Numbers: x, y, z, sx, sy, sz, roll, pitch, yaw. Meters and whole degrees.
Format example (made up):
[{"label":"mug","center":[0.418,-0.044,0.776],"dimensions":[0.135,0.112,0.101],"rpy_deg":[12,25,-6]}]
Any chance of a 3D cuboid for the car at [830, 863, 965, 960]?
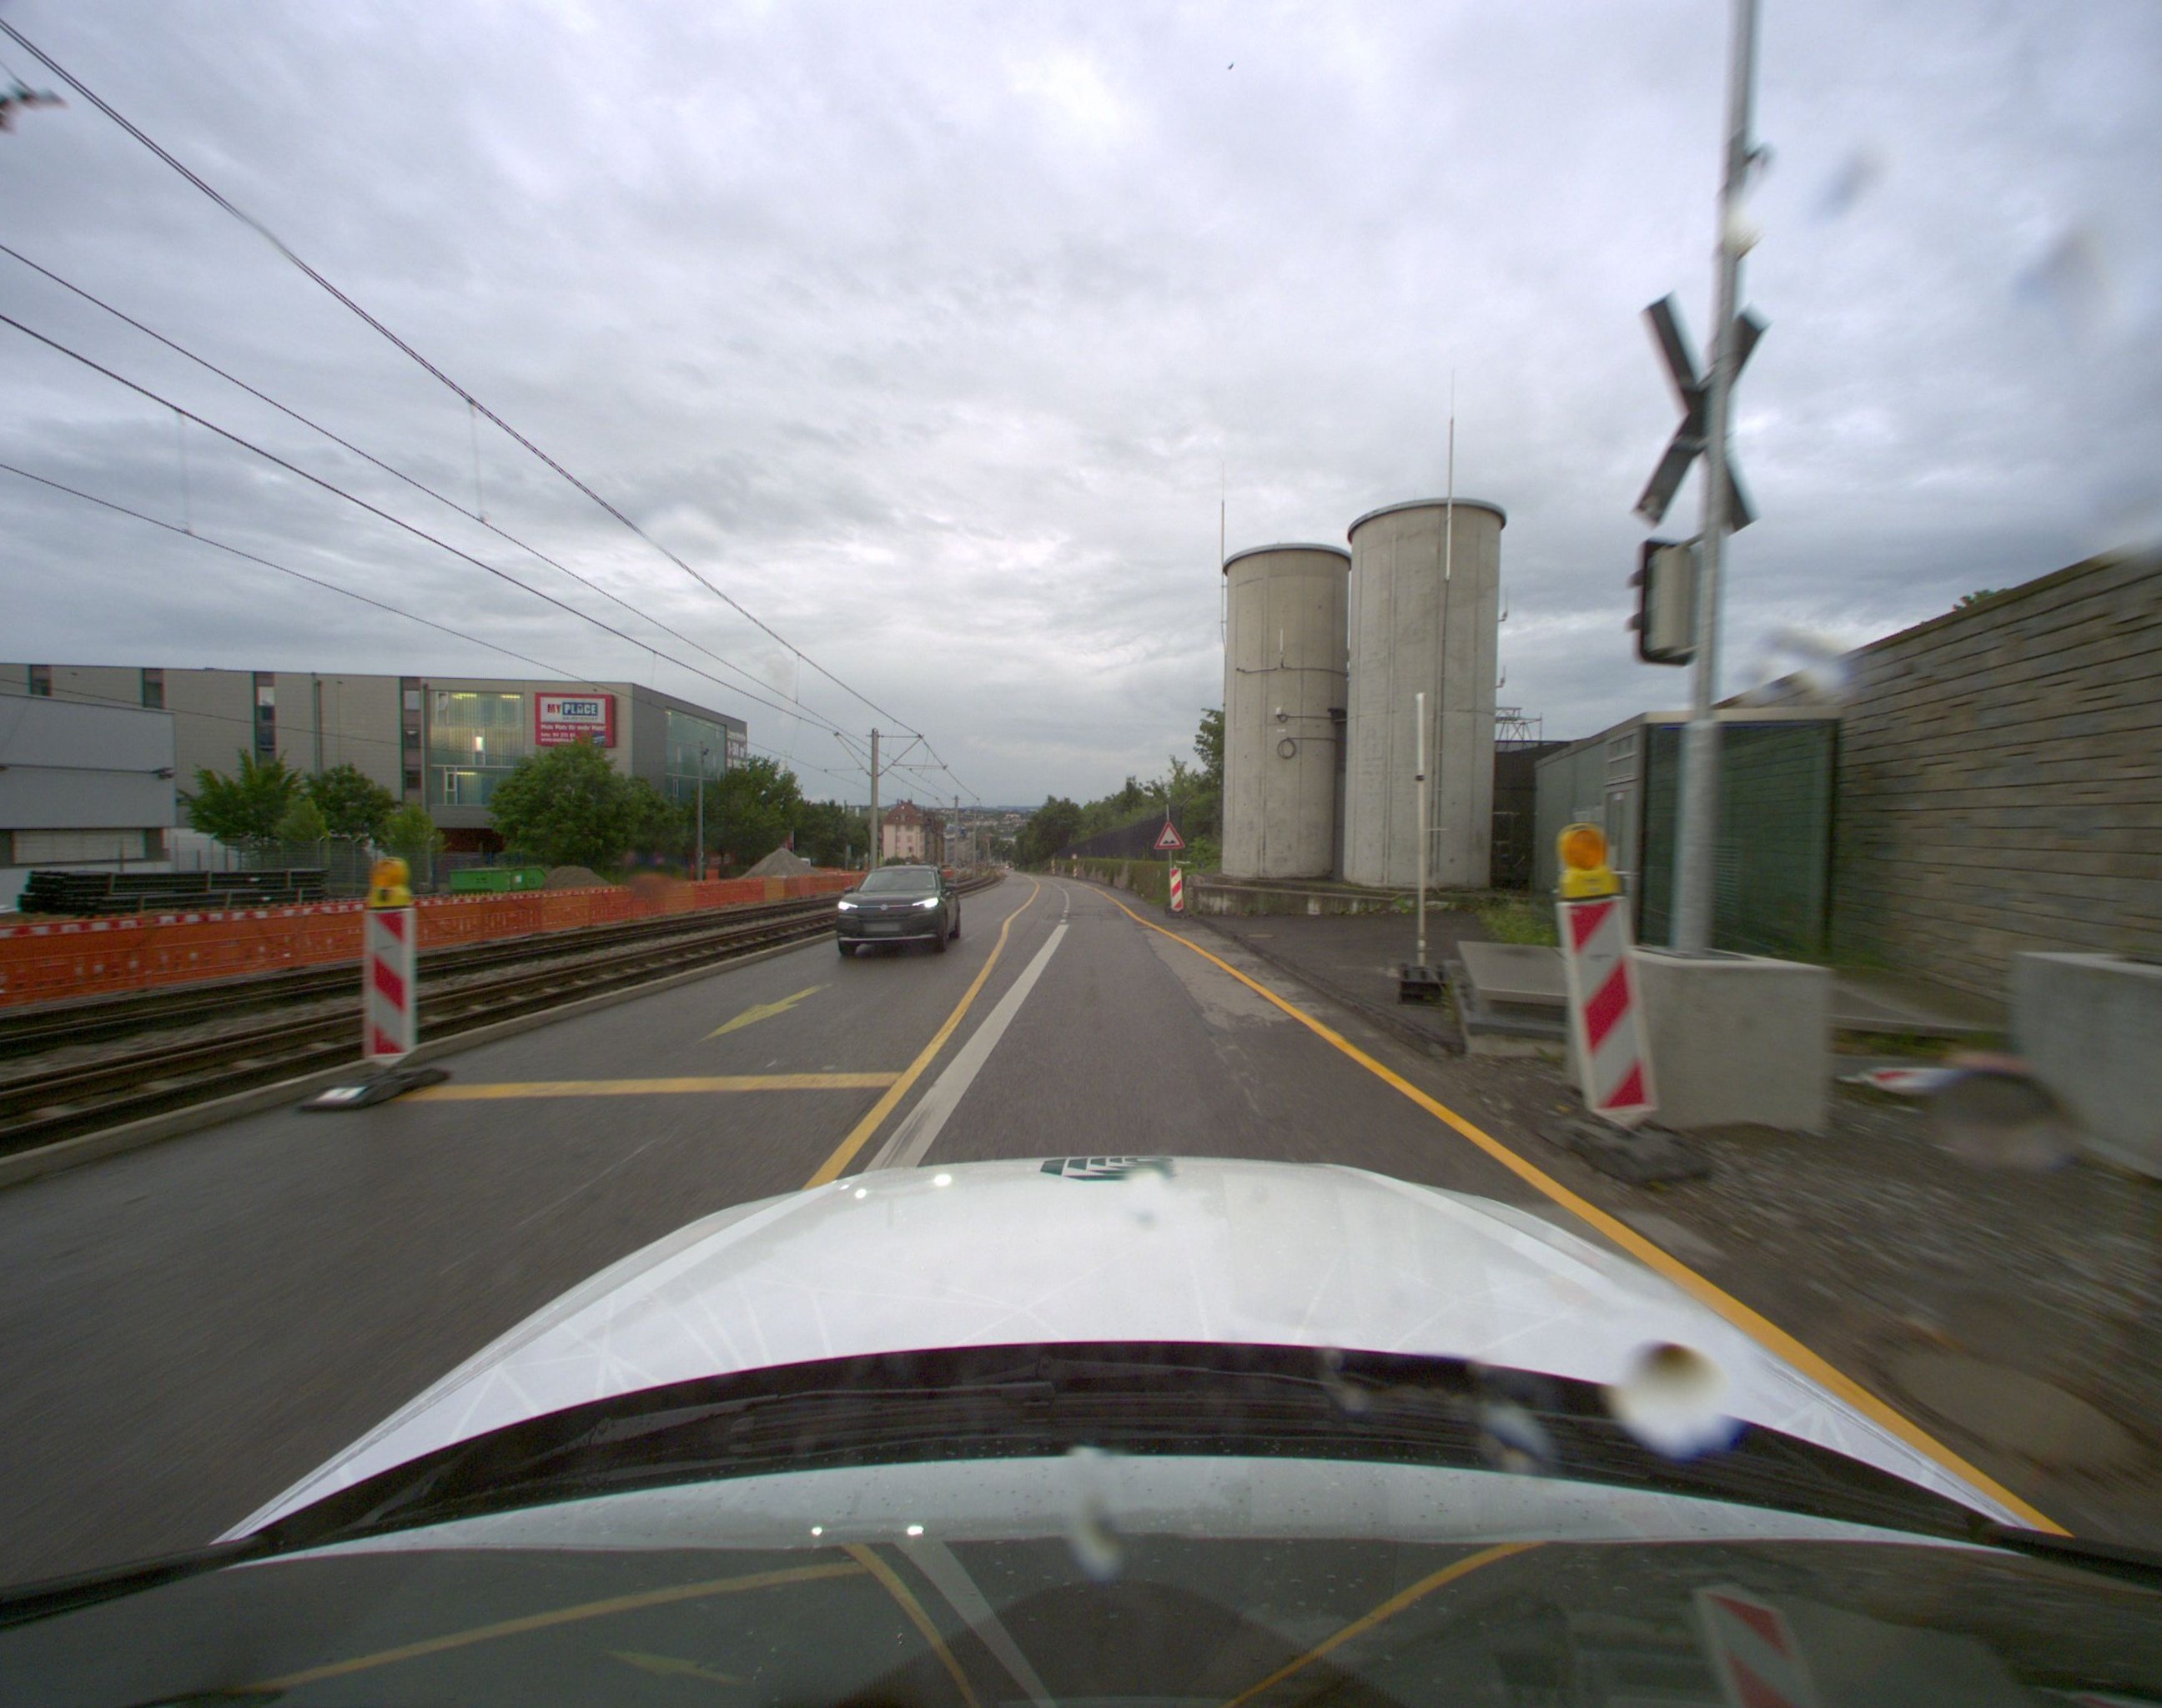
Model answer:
[{"label":"car","center":[-3.239,0.952,15.139],"dimensions":[1.785,1.464,3.946],"rpy_deg":[-2,0,-4]}]
